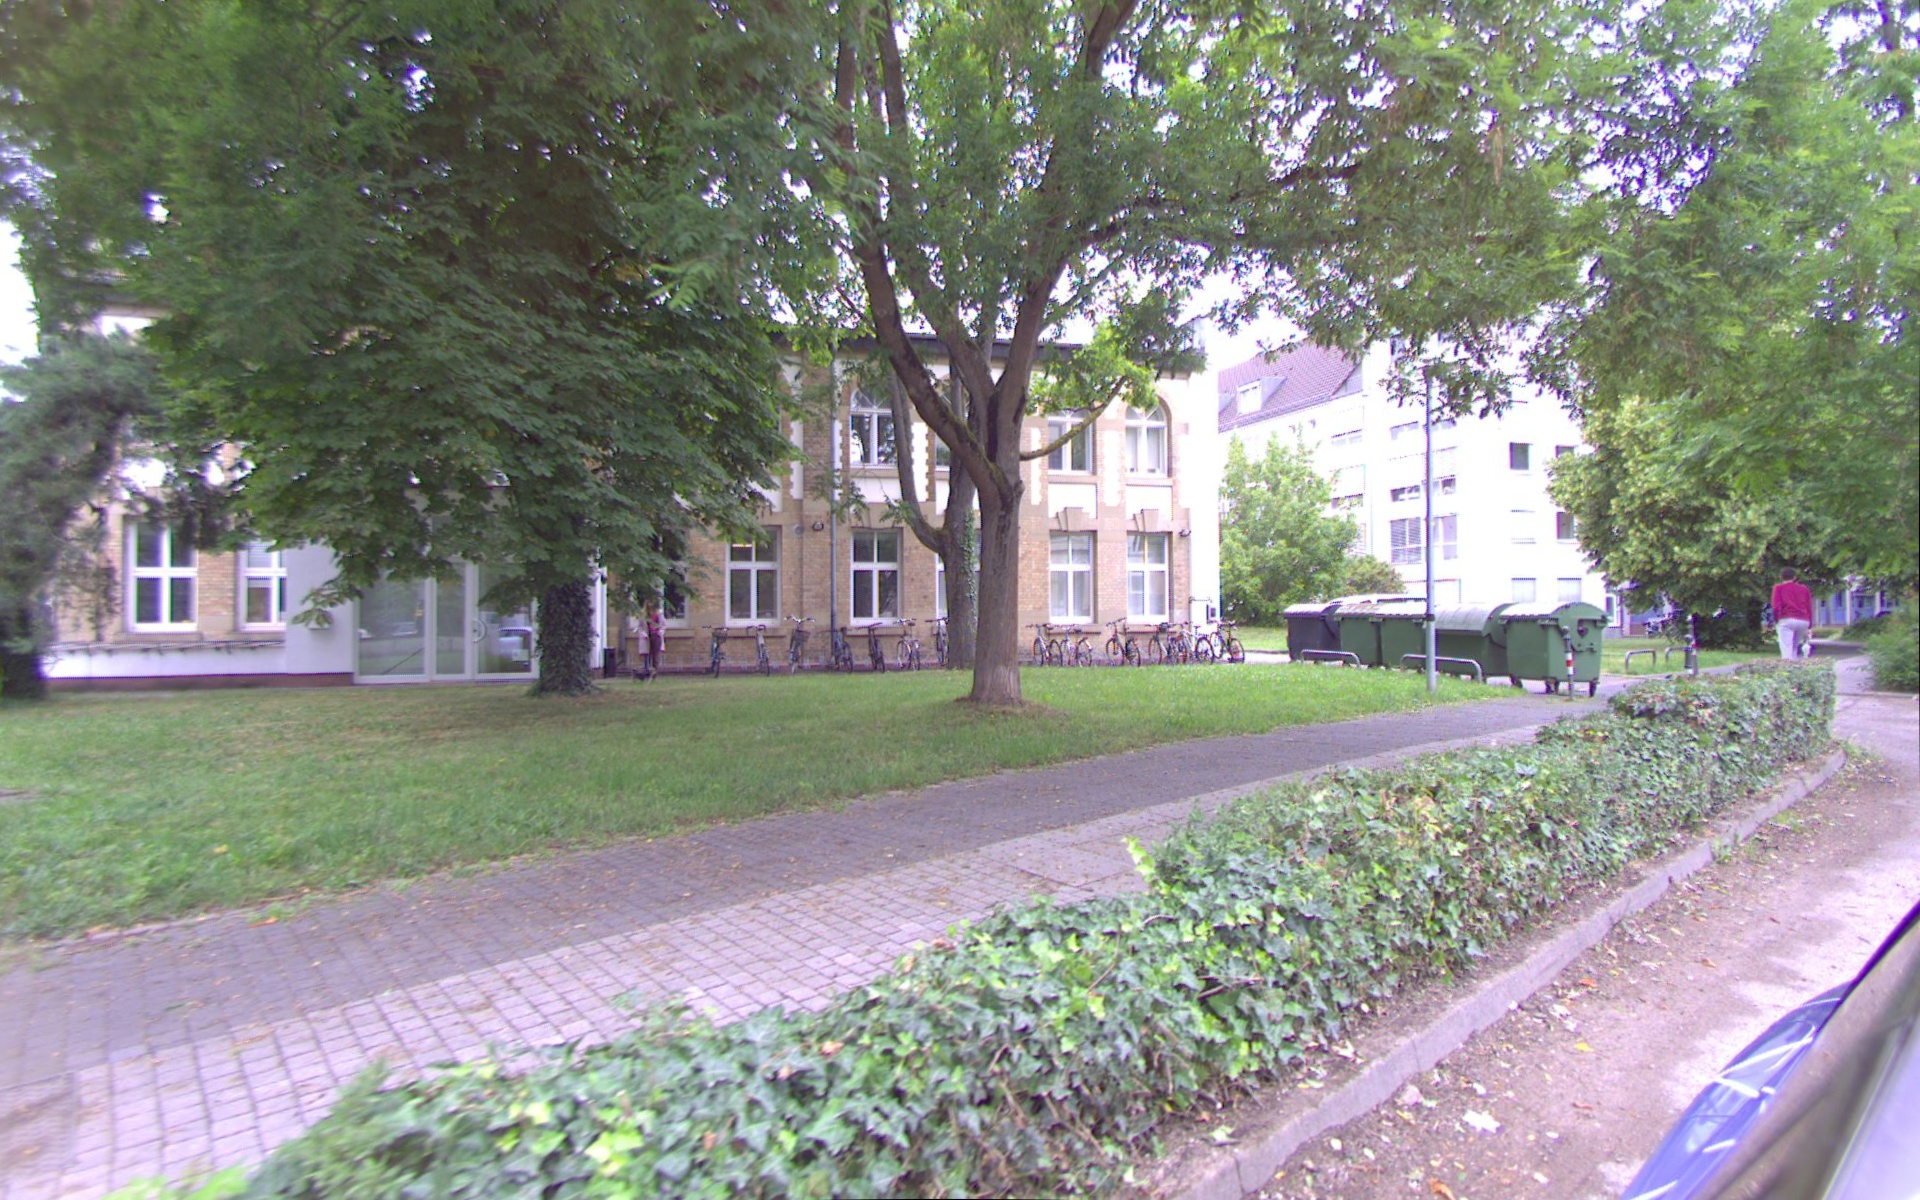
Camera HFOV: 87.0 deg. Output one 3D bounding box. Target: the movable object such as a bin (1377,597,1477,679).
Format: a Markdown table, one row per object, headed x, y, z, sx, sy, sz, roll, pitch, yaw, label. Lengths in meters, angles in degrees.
| x | y | z | sx | sy | sz | roll | pitch | yaw | label |
| --- | --- | --- | --- | --- | --- | --- | --- | --- | --- |
| 8.695 | 0.684 | 18.894 | 1.085 | 1.469 | 1.297 | 0 | -1 | -19 | movable object such as a bin |

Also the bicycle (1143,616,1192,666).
| x | y | z | sx | sy | sz | roll | pitch | yaw | label |
| --- | --- | --- | --- | --- | --- | --- | --- | --- | --- |
| 4.919 | 0.957 | 24.084 | 0.451 | 1.129 | 1.748 | 0 | -1 | -13 | bicycle |

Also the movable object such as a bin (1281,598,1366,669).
| x | y | z | sx | sy | sz | roll | pitch | yaw | label |
| --- | --- | --- | --- | --- | --- | --- | --- | --- | --- |
| 7.798 | 0.704 | 21.772 | 1.085 | 1.469 | 1.365 | 0 | -1 | -20 | movable object such as a bin |

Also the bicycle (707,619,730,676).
| x | y | z | sx | sy | sz | roll | pitch | yaw | label |
| --- | --- | --- | --- | --- | --- | --- | --- | --- | --- |
| -5.060 | 0.974 | 21.229 | 0.451 | 1.129 | 1.748 | 0 | -1 | -13 | bicycle |

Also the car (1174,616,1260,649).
| x | y | z | sx | sy | sz | roll | pitch | yaw | label |
| --- | --- | --- | --- | --- | --- | --- | --- | --- | --- |
| 14.317 | 1.789 | 56.396 | 4.250 | 1.757 | 2.004 | 0 | -1 | -20 | car |

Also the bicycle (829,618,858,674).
| x | y | z | sx | sy | sz | roll | pitch | yaw | label |
| --- | --- | --- | --- | --- | --- | --- | --- | --- | --- |
| -2.546 | 0.975 | 22.023 | 0.451 | 1.128 | 1.748 | 0 | 1 | -13 | bicycle |

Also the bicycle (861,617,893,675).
| x | y | z | sx | sy | sz | roll | pitch | yaw | label |
| --- | --- | --- | --- | --- | --- | --- | --- | --- | --- |
| -1.832 | 0.987 | 22.090 | 0.451 | 1.128 | 1.748 | 0 | 2 | -13 | bicycle |

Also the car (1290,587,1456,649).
| x | y | z | sx | sy | sz | roll | pitch | yaw | label |
| --- | --- | --- | --- | --- | --- | --- | --- | --- | --- |
| 13.419 | 0.611 | 32.942 | 4.673 | 1.898 | 1.904 | 0 | -3 | -13 | car |

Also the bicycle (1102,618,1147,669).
| x | y | z | sx | sy | sz | roll | pitch | yaw | label |
| --- | --- | --- | --- | --- | --- | --- | --- | --- | --- |
| 3.809 | 0.987 | 23.599 | 0.451 | 1.129 | 1.747 | 0 | -1 | -11 | bicycle |

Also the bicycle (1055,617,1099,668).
| x | y | z | sx | sy | sz | roll | pitch | yaw | label |
| --- | --- | --- | --- | --- | --- | --- | --- | --- | --- |
| 2.699 | 0.960 | 23.461 | 0.451 | 1.129 | 1.748 | 0 | -1 | -13 | bicycle |

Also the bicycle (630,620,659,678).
| x | y | z | sx | sy | sz | roll | pitch | yaw | label |
| --- | --- | --- | --- | --- | --- | --- | --- | --- | --- |
| -6.566 | 0.994 | 21.108 | 0.451 | 1.129 | 1.748 | 0 | -1 | -13 | bicycle |

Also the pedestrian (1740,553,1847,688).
| x | y | z | sx | sy | sz | roll | pitch | yaw | label |
| --- | --- | --- | --- | --- | --- | --- | --- | --- | --- |
| 13.416 | 0.316 | 16.299 | 1.176 | 2.091 | 0.796 | 0 | -1 | -19 | pedestrian |

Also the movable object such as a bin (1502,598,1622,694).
| x | y | z | sx | sy | sz | roll | pitch | yaw | label |
| --- | --- | --- | --- | --- | --- | --- | --- | --- | --- |
| 9.473 | 0.695 | 15.982 | 1.050 | 1.452 | 1.276 | 0 | -1 | -5 | movable object such as a bin |

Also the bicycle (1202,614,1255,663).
| x | y | z | sx | sy | sz | roll | pitch | yaw | label |
| --- | --- | --- | --- | --- | --- | --- | --- | --- | --- |
| 6.489 | 0.909 | 24.500 | 0.451 | 1.129 | 1.748 | 0 | -1 | -13 | bicycle |

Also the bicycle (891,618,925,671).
| x | y | z | sx | sy | sz | roll | pitch | yaw | label |
| --- | --- | --- | --- | --- | --- | --- | --- | --- | --- |
| -1.160 | 0.958 | 22.352 | 0.451 | 1.129 | 1.748 | 0 | -1 | -13 | bicycle |

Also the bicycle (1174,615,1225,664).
| x | y | z | sx | sy | sz | roll | pitch | yaw | label |
| --- | --- | --- | --- | --- | --- | --- | --- | --- | --- |
| 5.716 | 0.924 | 24.248 | 0.451 | 1.129 | 1.748 | 0 | -1 | -13 | bicycle |

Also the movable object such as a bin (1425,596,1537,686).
| x | y | z | sx | sy | sz | roll | pitch | yaw | label |
| --- | --- | --- | --- | --- | --- | --- | --- | --- | --- |
| 8.927 | 0.685 | 17.379 | 1.085 | 1.469 | 1.288 | 0 | -1 | -19 | movable object such as a bin |

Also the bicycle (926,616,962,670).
| x | y | z | sx | sy | sz | roll | pitch | yaw | label |
| --- | --- | --- | --- | --- | --- | --- | --- | --- | --- |
| -0.367 | 0.938 | 22.620 | 0.451 | 1.129 | 1.748 | 0 | -1 | -13 | bicycle |

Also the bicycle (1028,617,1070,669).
| x | y | z | sx | sy | sz | roll | pitch | yaw | label |
| --- | --- | --- | --- | --- | --- | --- | --- | --- | --- |
| 2.026 | 0.964 | 23.289 | 0.451 | 1.129 | 1.748 | 0 | -1 | -13 | bicycle |

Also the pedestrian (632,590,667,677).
| x | y | z | sx | sy | sz | roll | pitch | yaw | label |
| --- | --- | --- | --- | --- | --- | --- | --- | --- | --- |
| -5.892 | 0.629 | 19.246 | 0.614 | 1.607 | 0.605 | 0 | -1 | -15 | pedestrian |

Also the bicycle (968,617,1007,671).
| x | y | z | sx | sy | sz | roll | pitch | yaw | label |
| --- | --- | --- | --- | --- | --- | --- | --- | --- | --- |
| 0.612 | 0.974 | 22.878 | 0.451 | 1.129 | 1.748 | 0 | 0 | -13 | bicycle |

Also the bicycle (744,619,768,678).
| x | y | z | sx | sy | sz | roll | pitch | yaw | label |
| --- | --- | --- | --- | --- | --- | --- | --- | --- | --- |
| -4.342 | 1.004 | 21.506 | 0.451 | 1.128 | 1.748 | 0 | 1 | -13 | bicycle |

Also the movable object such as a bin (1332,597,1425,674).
| x | y | z | sx | sy | sz | roll | pitch | yaw | label |
| --- | --- | --- | --- | --- | --- | --- | --- | --- | --- |
| 8.358 | 0.685 | 20.283 | 1.085 | 1.469 | 1.329 | 0 | -1 | -20 | movable object such as a bin |

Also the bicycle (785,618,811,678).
| x | y | z | sx | sy | sz | roll | pitch | yaw | label |
| --- | --- | --- | --- | --- | --- | --- | --- | --- | --- |
| -3.488 | 1.007 | 21.730 | 0.451 | 1.128 | 1.749 | 0 | 2 | -13 | bicycle |
